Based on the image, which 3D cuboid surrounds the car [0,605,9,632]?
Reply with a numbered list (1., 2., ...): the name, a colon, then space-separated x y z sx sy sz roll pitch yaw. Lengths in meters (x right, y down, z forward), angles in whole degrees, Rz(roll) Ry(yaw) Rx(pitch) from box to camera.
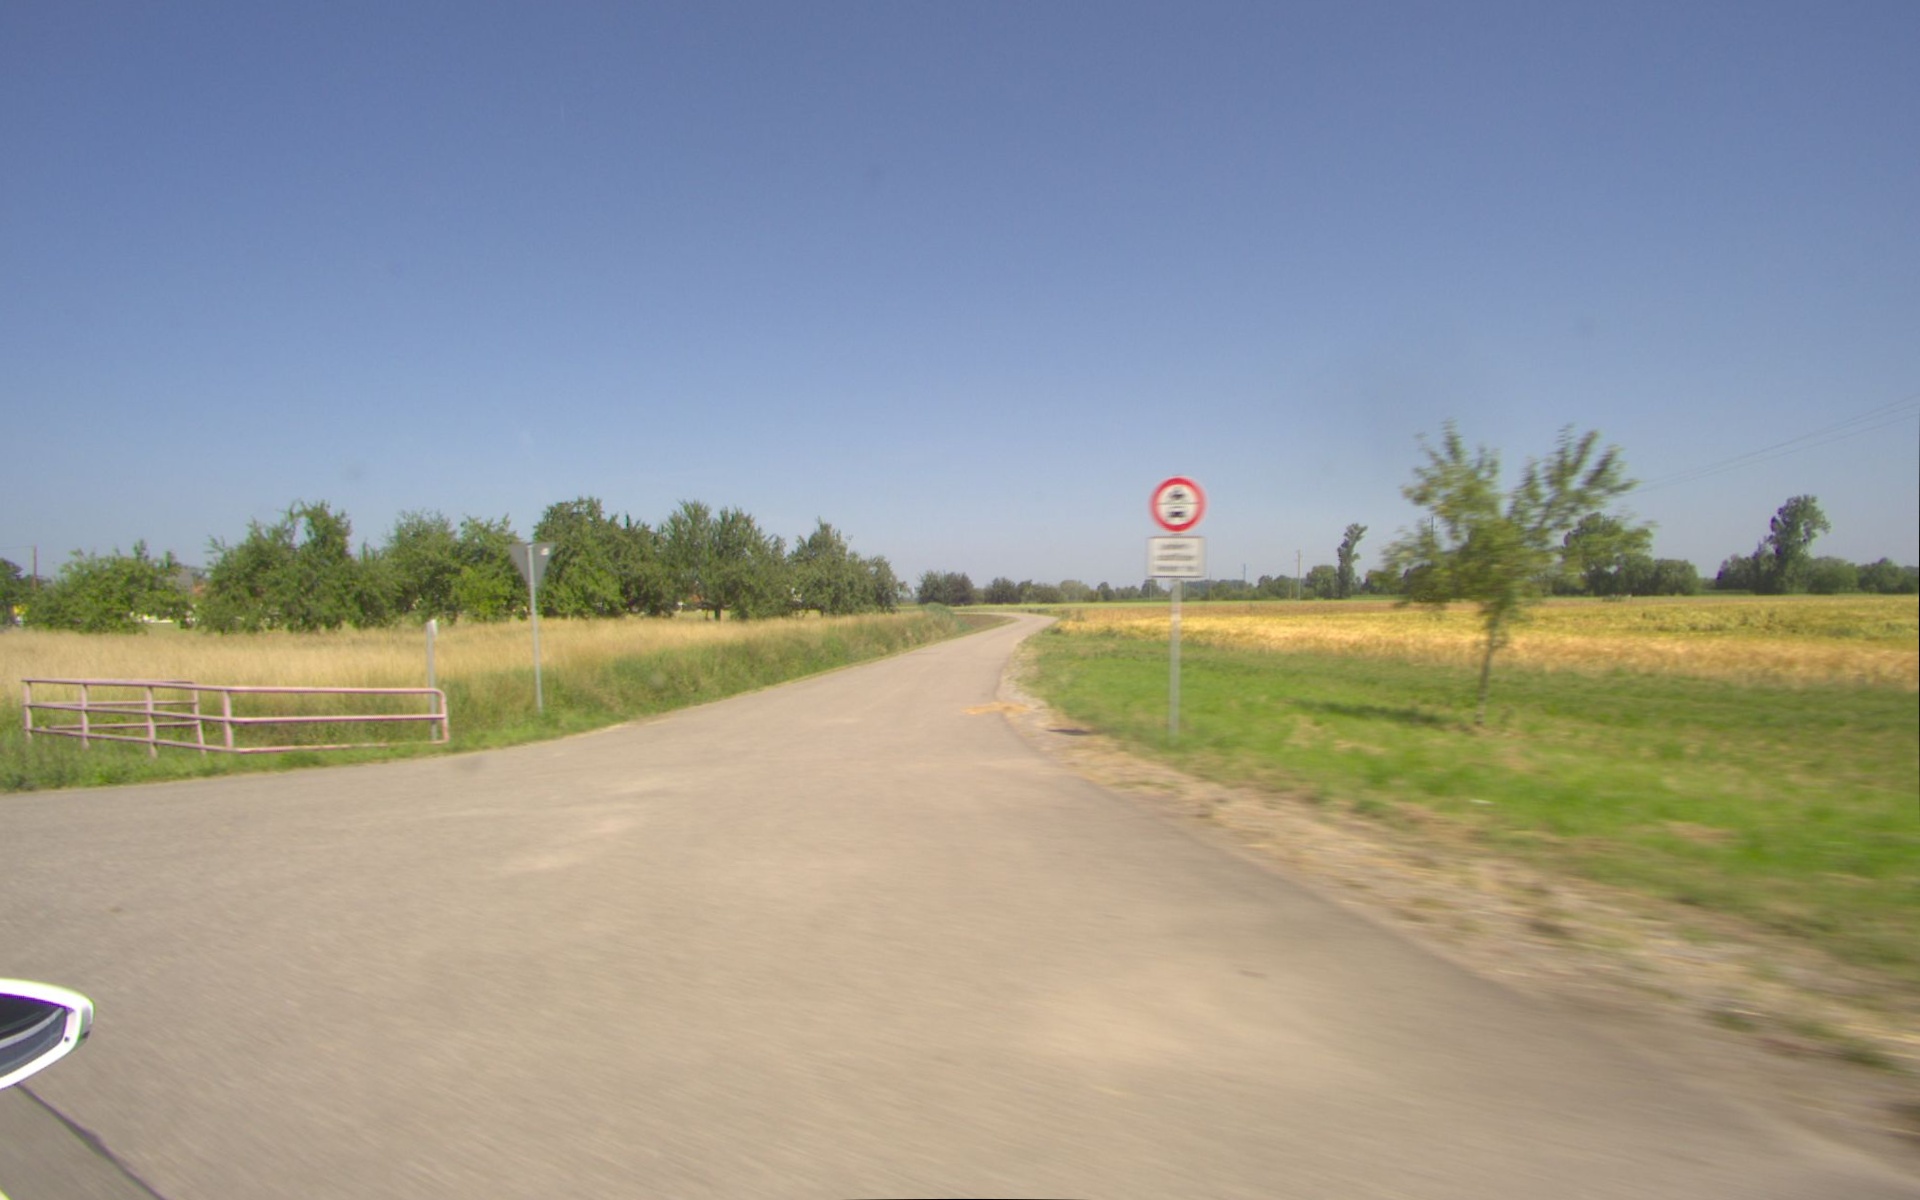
1. car: -84.292 1.628 87.086 1.978 2.296 4.685 -1 0 -41
